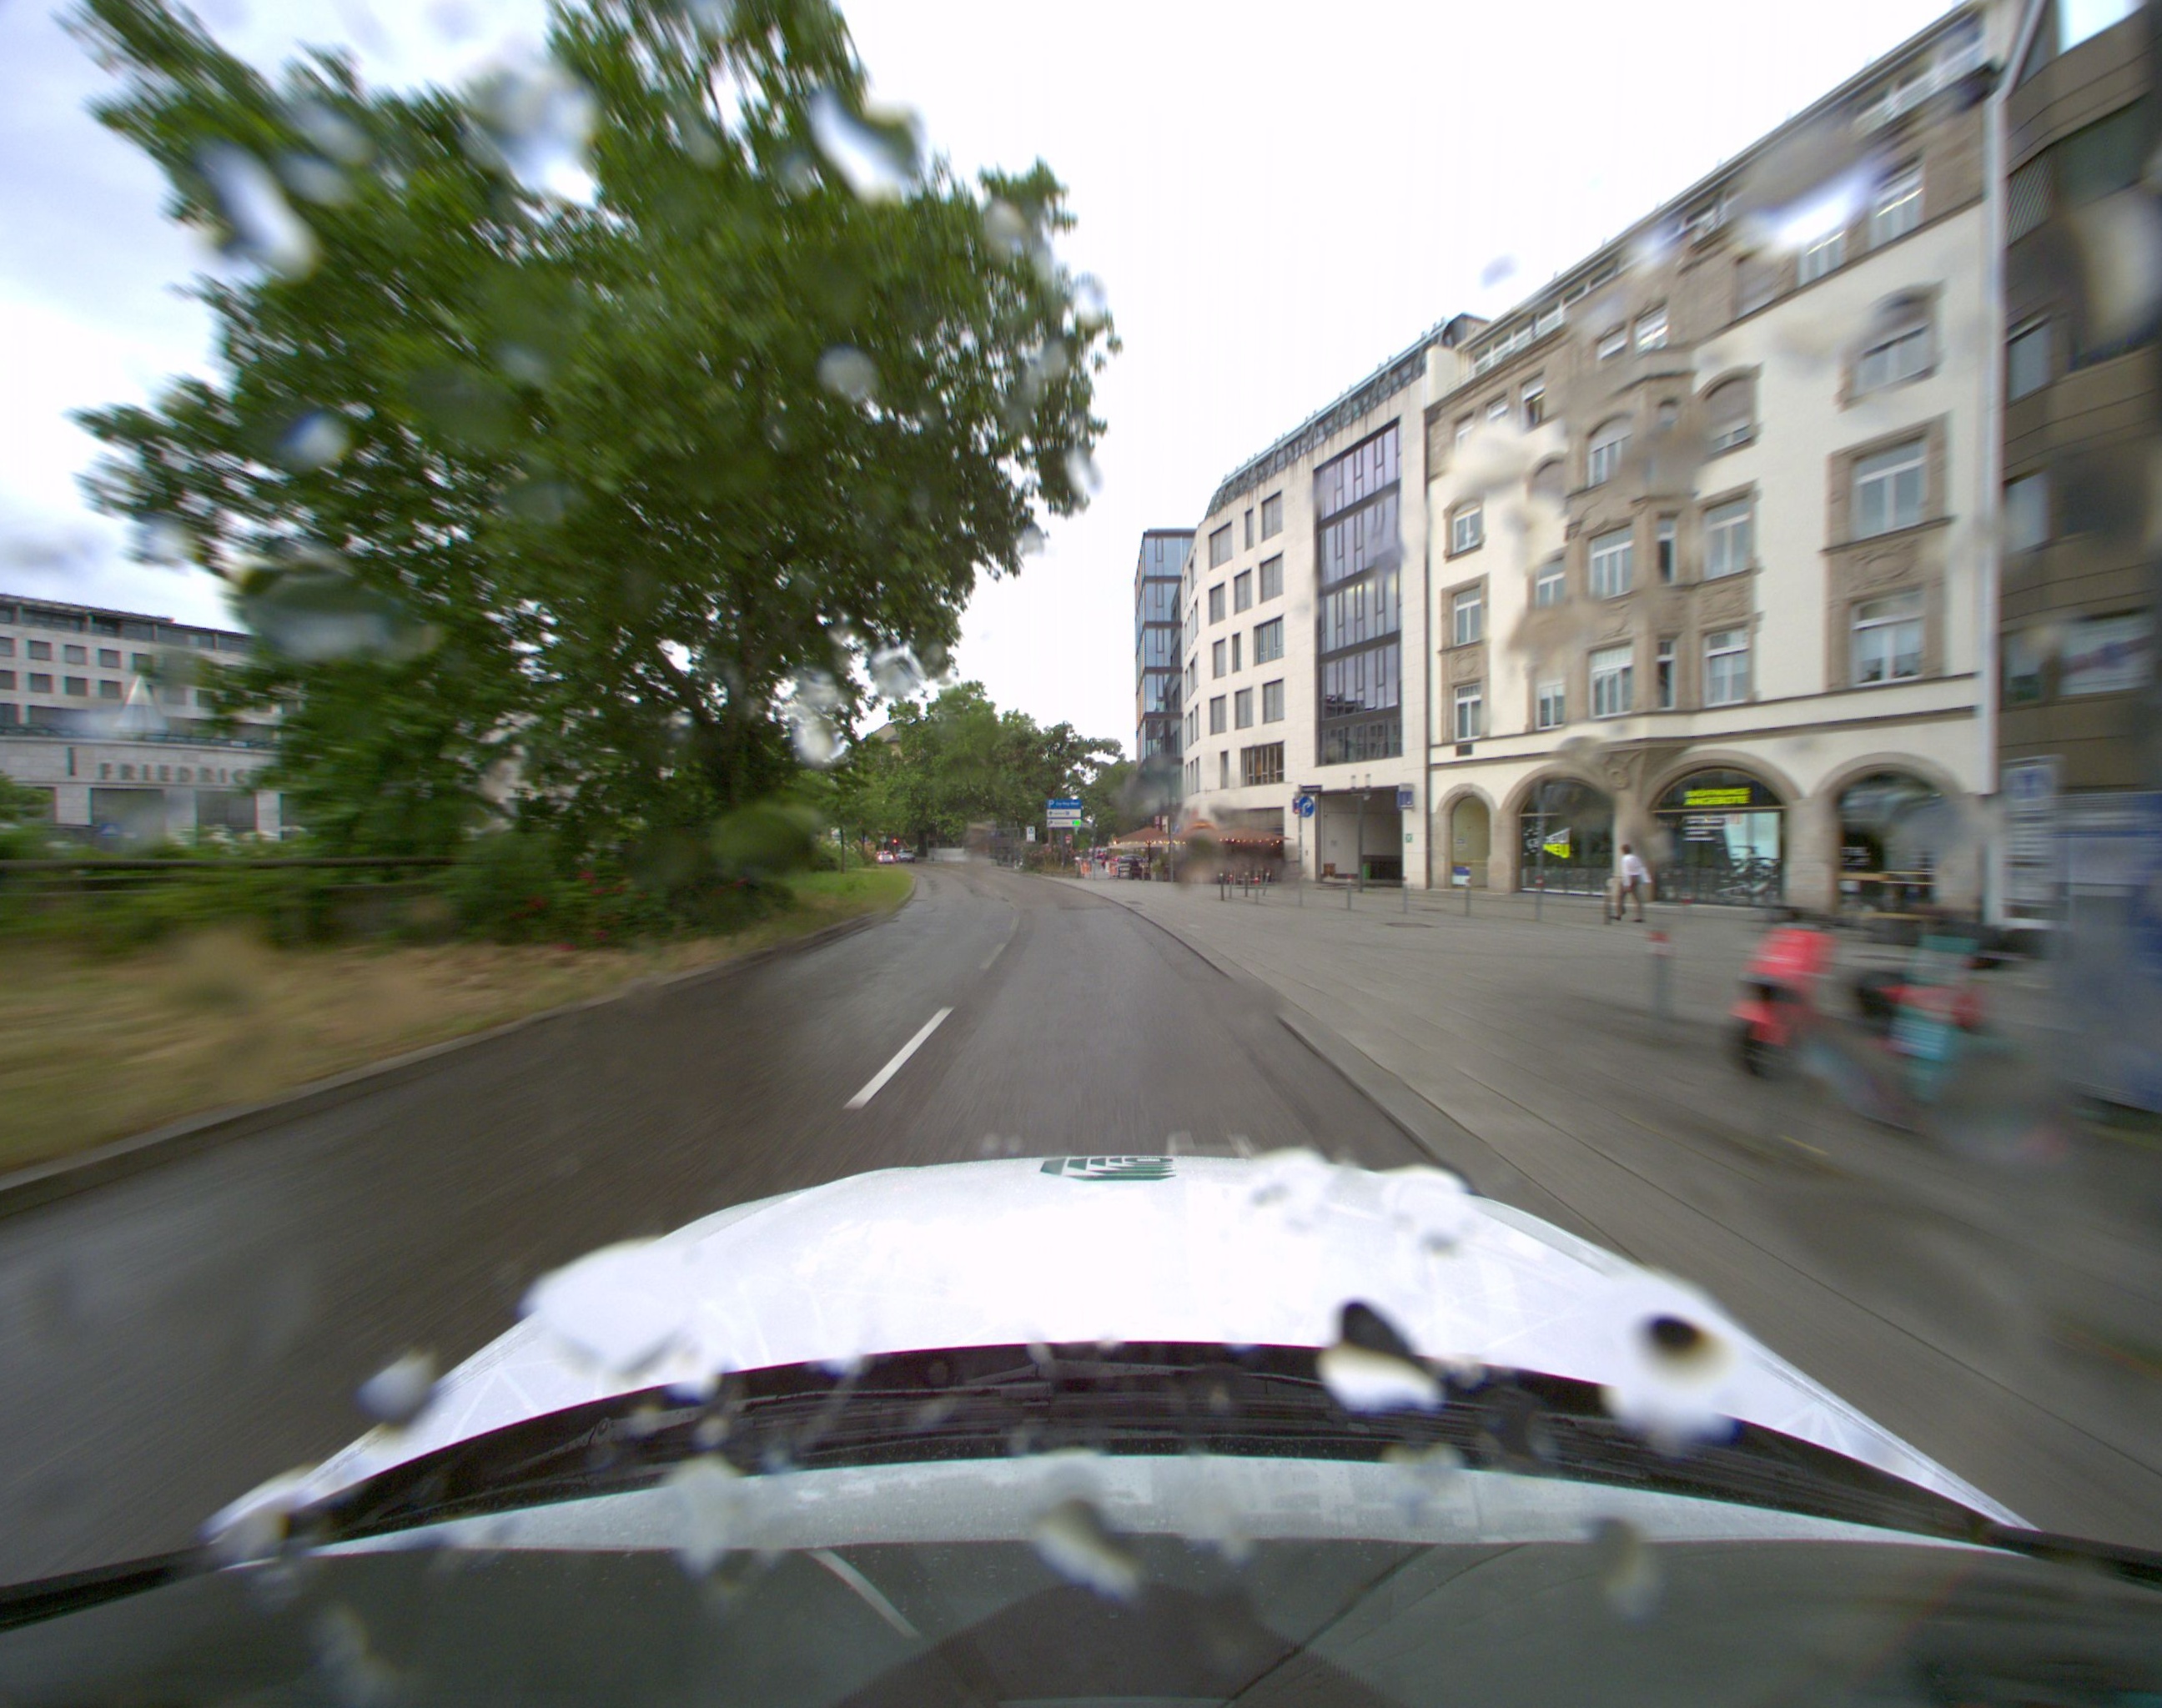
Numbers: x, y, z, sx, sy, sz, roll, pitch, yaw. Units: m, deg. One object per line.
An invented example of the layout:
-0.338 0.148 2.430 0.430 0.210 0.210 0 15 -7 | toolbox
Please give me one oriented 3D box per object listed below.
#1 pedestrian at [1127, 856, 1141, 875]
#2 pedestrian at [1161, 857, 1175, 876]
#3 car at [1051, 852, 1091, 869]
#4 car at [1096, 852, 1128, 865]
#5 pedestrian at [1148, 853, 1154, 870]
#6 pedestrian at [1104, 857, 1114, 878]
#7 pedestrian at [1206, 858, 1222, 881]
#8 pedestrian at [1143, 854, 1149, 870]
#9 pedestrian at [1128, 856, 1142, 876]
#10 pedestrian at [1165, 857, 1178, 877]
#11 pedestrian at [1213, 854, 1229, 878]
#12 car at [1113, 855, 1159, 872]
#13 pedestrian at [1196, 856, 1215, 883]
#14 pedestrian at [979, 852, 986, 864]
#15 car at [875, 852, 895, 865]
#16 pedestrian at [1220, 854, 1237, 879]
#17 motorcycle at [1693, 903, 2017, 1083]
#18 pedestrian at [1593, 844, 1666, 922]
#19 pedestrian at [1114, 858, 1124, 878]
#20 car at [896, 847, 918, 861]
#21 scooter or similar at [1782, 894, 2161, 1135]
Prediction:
3.702 0.808 56.917 0.815 1.326 0.635 2 0 -3 | pedestrian
6.084 0.873 57.028 0.815 1.326 0.635 2 0 -3 | pedestrian
-1.029 0.657 85.270 4.088 1.621 1.860 2 -1 -4 | car
3.537 0.483 92.902 1.623 1.416 3.486 1 0 -43 | car
6.025 0.662 70.123 0.433 1.403 0.478 -1 0 0 | pedestrian
1.878 0.904 54.214 0.604 1.326 0.567 2 -1 -3 | pedestrian
7.691 0.903 47.087 0.629 1.326 0.631 2 -1 -23 | pedestrian
5.570 0.672 69.729 0.433 1.403 0.478 -1 0 0 | pedestrian
3.729 0.843 56.202 0.815 1.326 0.635 2 0 -3 | pedestrian
6.247 0.909 56.133 0.815 1.326 0.635 2 0 -3 | pedestrian
7.912 0.697 46.108 0.629 1.326 0.631 2 -1 -23 | pedestrian
5.677 0.942 85.110 4.718 1.691 2.005 0 1 1 | car
6.244 0.777 40.837 0.772 1.326 0.635 2 0 -3 | pedestrian
-11.963 0.505 98.847 0.686 1.410 0.899 2 -1 -18 | pedestrian
-22.531 0.507 93.565 1.597 1.491 3.479 -3 1 -22 | car
8.196 0.687 45.294 0.629 1.326 0.631 2 -1 -23 | pedestrian
5.351 0.935 5.681 1.788 1.140 0.595 1 -1 -4 | motorcycle
13.499 0.698 20.067 0.872 1.838 1.244 1 -1 -13 | pedestrian
2.549 0.930 54.278 0.604 1.326 0.567 2 -1 -3 | pedestrian
-21.513 0.038 100.781 1.954 1.666 4.313 0 0 -22 | car
5.108 0.864 4.642 1.788 1.243 0.595 1 -1 -4 | scooter or similar
